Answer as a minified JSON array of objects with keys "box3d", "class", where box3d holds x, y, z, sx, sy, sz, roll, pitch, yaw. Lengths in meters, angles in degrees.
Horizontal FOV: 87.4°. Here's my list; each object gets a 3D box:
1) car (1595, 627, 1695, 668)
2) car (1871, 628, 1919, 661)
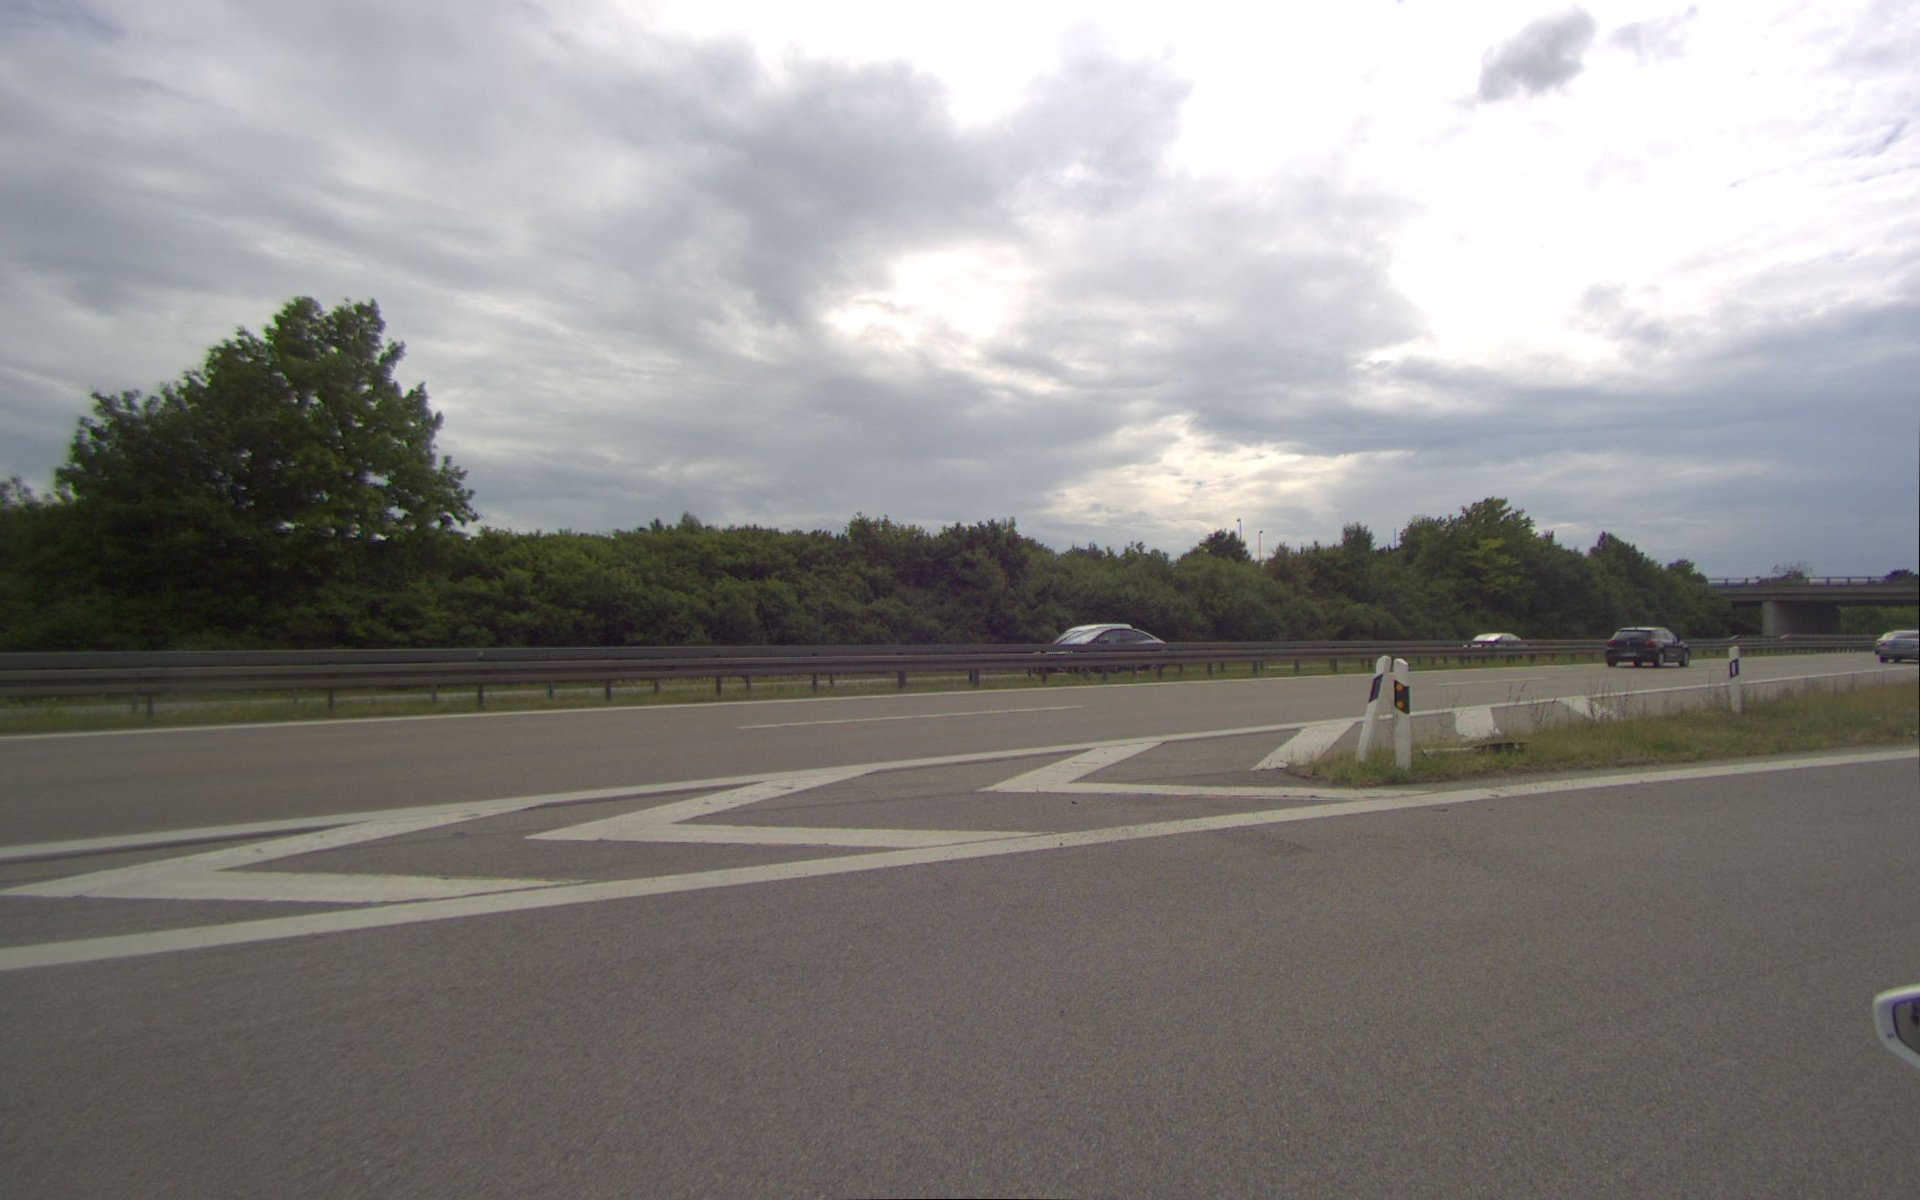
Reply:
[{"box3d":[25.412,1.721,37.228,4.265,1.417,1.767,1,-2,-36],"class":"car"},{"box3d":[42.649,1.979,45.072,4.507,1.417,1.767,1,-2,-36],"class":"car"}]
